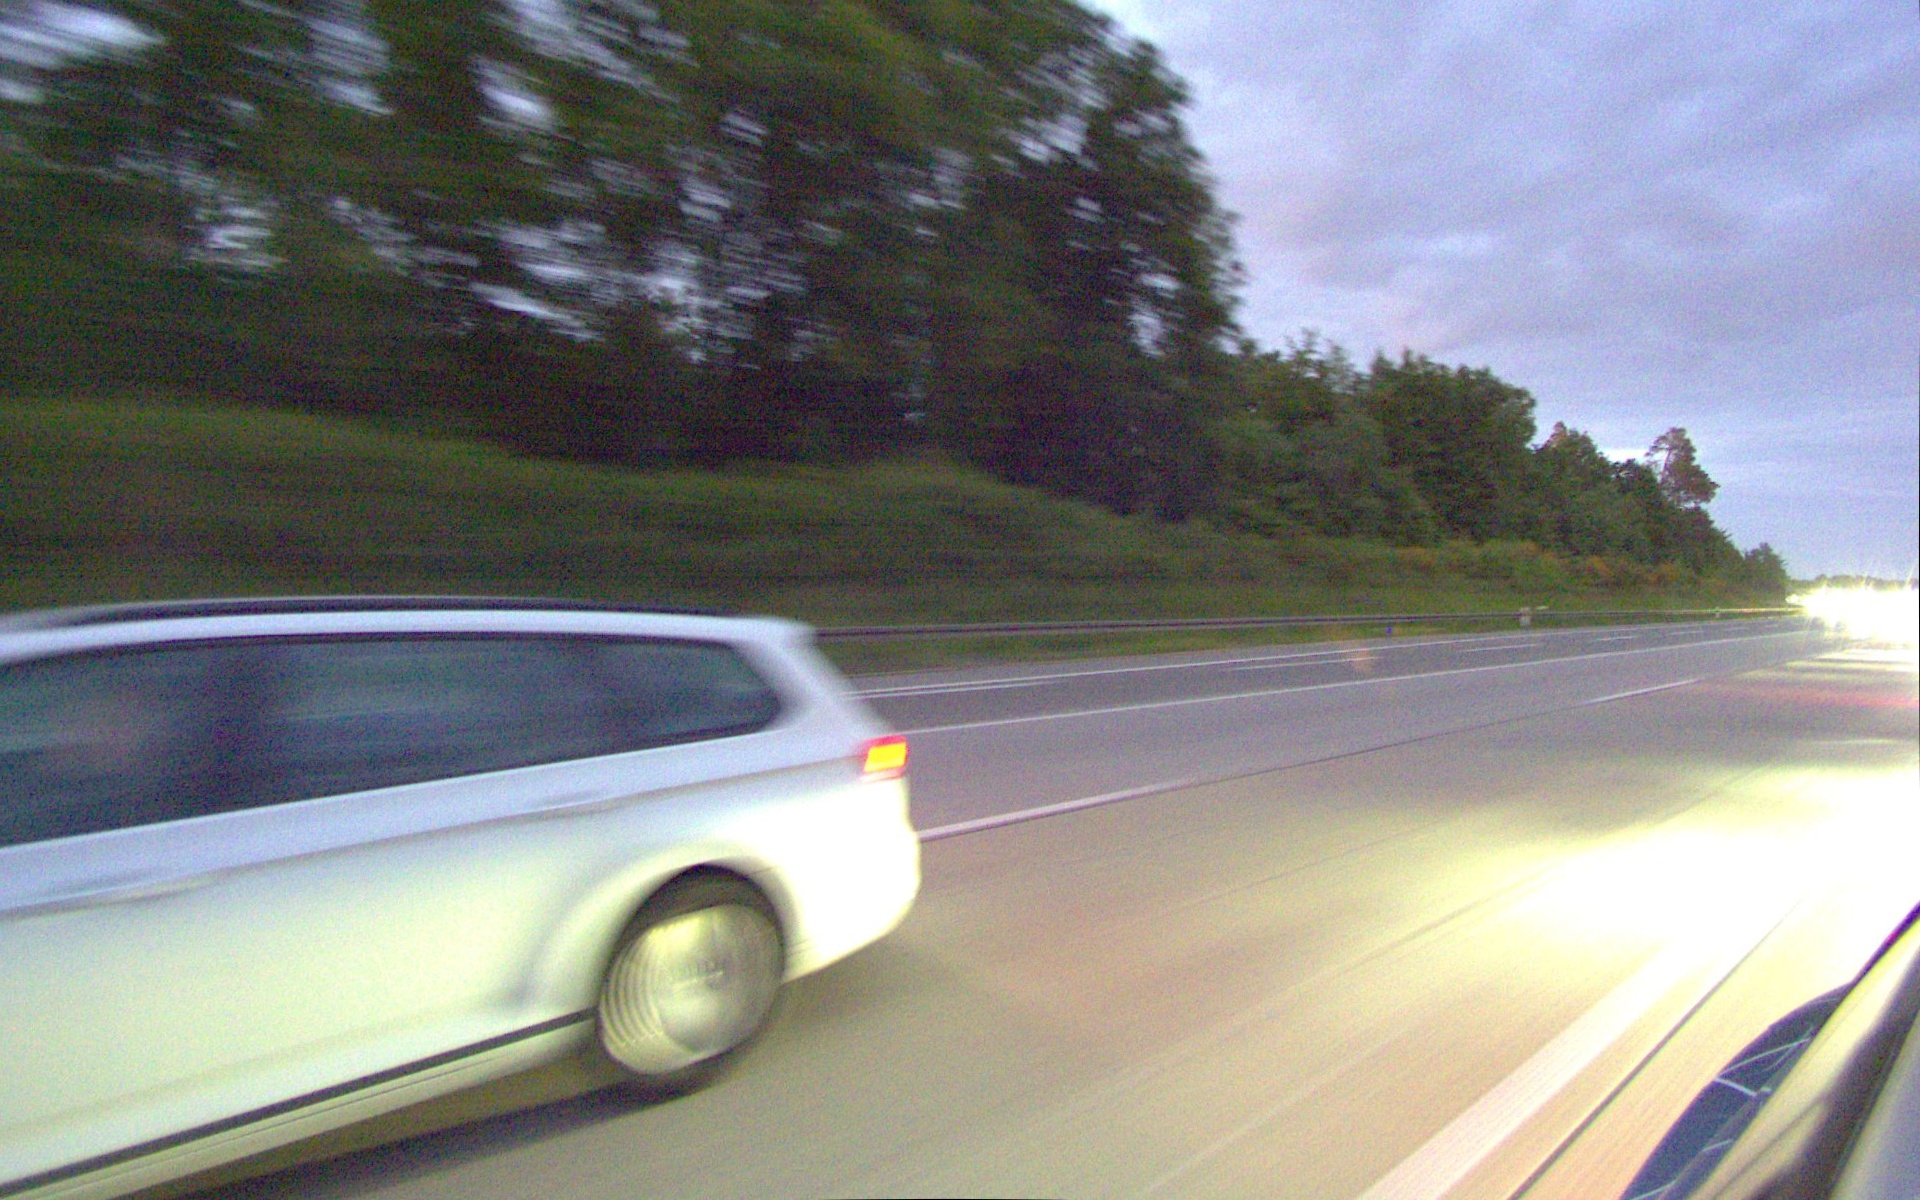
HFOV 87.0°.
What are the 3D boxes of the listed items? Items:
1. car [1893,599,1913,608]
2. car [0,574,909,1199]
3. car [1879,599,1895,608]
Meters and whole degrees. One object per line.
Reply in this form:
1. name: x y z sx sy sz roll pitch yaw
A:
1. car: 139.818 0.529 150.088 3.973 1.398 1.817 0 0 -41
2. car: -2.662 0.682 2.439 5.042 1.485 1.812 1 0 -41
3. car: 162.898 0.540 177.896 1.993 1.568 3.937 1 0 44
